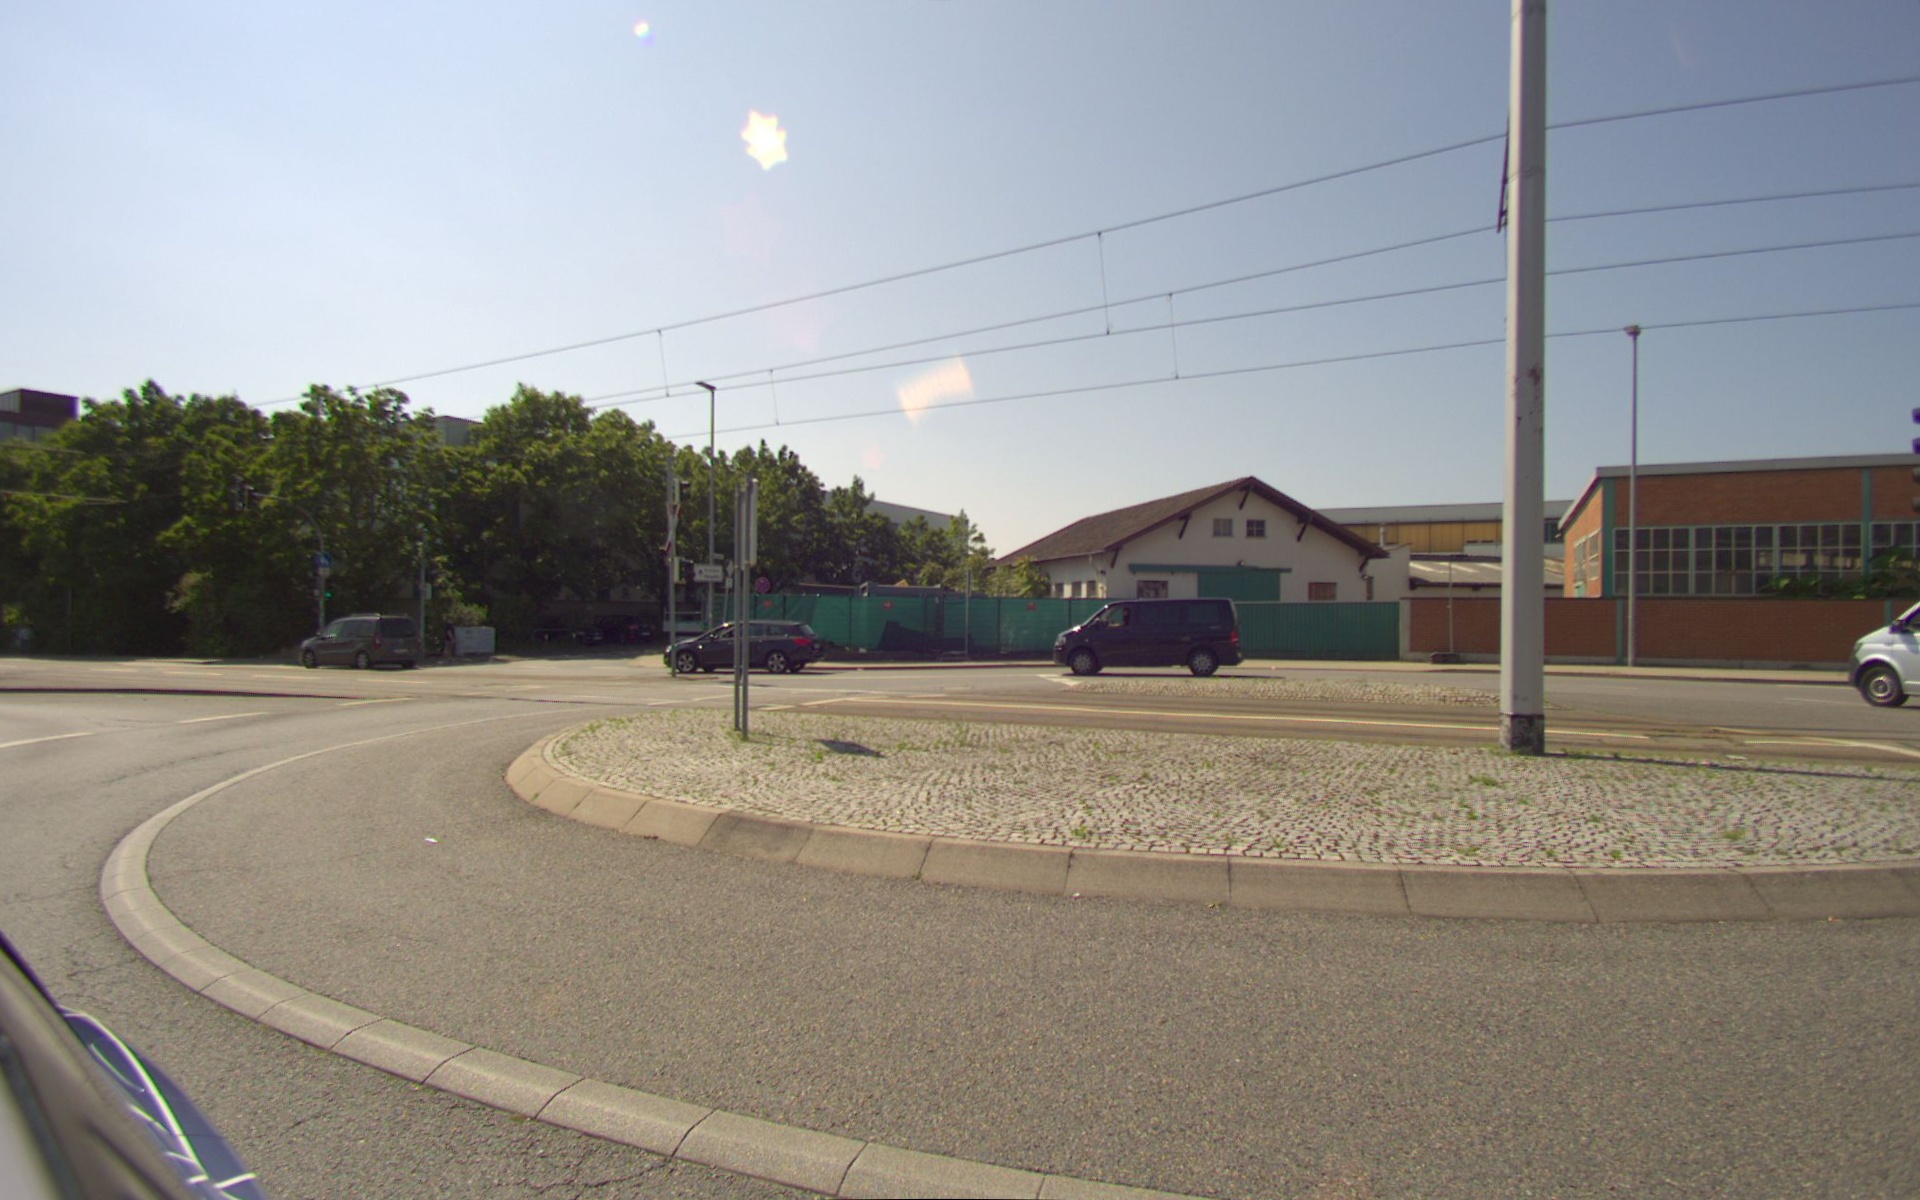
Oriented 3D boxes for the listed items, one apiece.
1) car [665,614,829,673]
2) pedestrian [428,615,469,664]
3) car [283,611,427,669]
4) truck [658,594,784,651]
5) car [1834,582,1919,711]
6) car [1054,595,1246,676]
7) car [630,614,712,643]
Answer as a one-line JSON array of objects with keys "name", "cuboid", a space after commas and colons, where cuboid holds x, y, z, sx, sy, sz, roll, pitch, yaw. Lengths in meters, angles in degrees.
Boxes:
[{"name": "car", "cuboid": [-6.010, 1.225, 28.829, 4.191, 1.568, 1.965, -1, -2, 7]}, {"name": "pedestrian", "cuboid": [-19.315, 1.494, 38.201, 1.154, 1.682, 0.881, 4, 4, 26]}, {"name": "car", "cuboid": [-20.268, 1.324, 33.906, 4.381, 1.832, 1.974, -1, -1, 23]}, {"name": "truck", "cuboid": [-10.675, 0.968, 45.902, 2.196, 2.355, 6.339, -2, -1, 23]}, {"name": "car", "cuboid": [15.545, 0.681, 14.349, 1.905, 1.950, 4.832, 0, -2, -3]}, {"name": "car", "cuboid": [4.898, 0.926, 26.006, 4.601, 1.925, 2.085, -2, -2, 19]}, {"name": "car", "cuboid": [-15.131, 1.501, 53.084, 3.816, 1.478, 1.624, 0, -1, 4]}]
